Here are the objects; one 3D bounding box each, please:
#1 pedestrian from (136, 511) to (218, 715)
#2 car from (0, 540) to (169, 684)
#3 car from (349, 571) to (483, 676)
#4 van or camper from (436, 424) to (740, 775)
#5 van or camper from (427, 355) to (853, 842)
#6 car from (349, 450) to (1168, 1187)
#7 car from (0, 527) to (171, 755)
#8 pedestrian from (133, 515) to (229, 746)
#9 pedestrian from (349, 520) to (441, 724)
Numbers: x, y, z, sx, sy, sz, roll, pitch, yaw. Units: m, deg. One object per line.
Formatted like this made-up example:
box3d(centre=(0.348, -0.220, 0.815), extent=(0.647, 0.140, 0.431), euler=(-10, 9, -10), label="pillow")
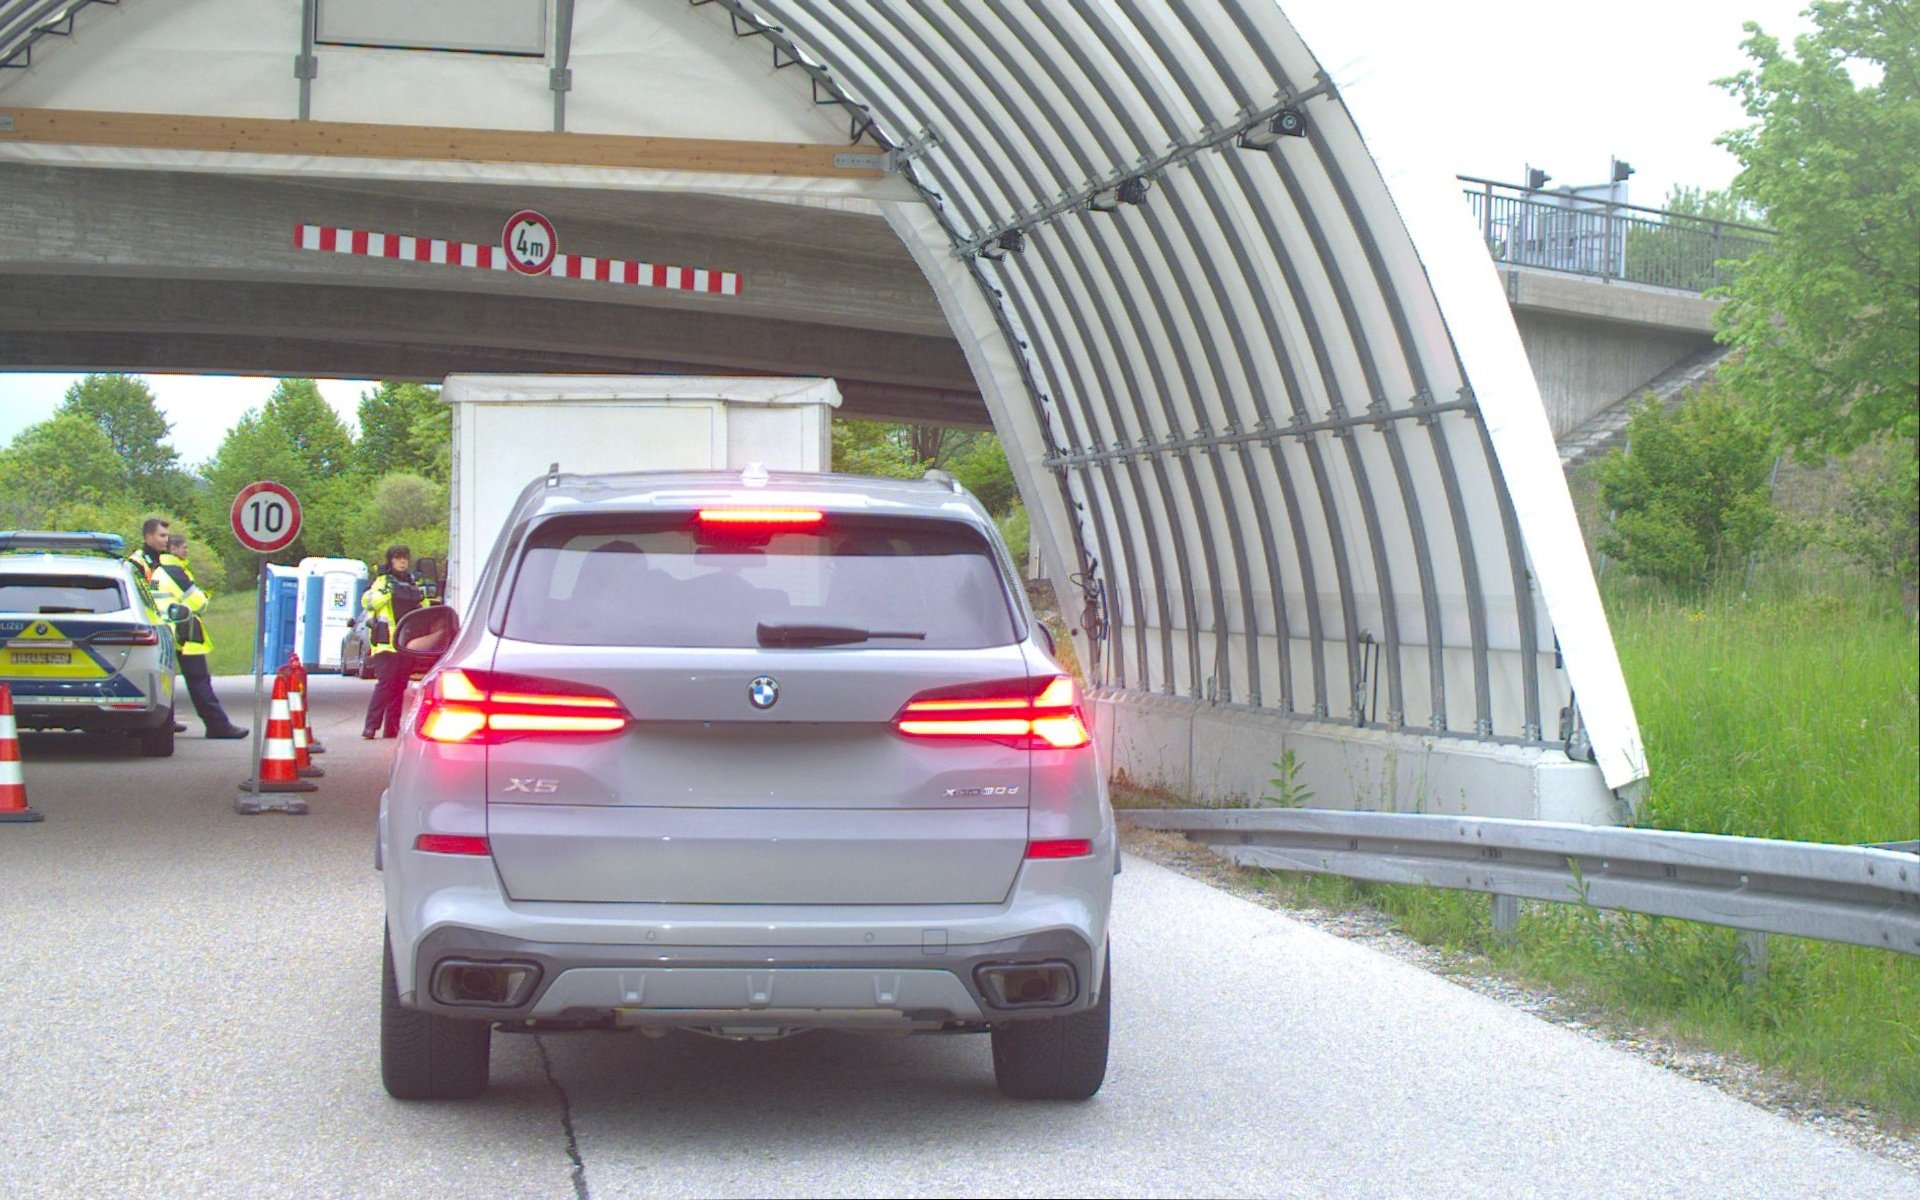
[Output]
box3d(centre=(-6.803, 0.107, 29.901), extent=(0.609, 1.748, 0.666), euler=(0, 0, -6), label="pedestrian")
box3d(centre=(-13.929, 0.159, 49.066), extent=(4.807, 2.007, 1.840), euler=(0, 0, 7), label="car")
box3d(centre=(-9.276, 0.371, 58.399), extent=(1.993, 1.716, 3.897), euler=(0, 0, -13), label="car")
box3d(centre=(-3.085, -0.024, 27.480), extent=(2.103, 2.510, 5.552), euler=(0, 0, -9), label="van or camper")
box3d(centre=(-2.178, -0.035, 21.404), extent=(2.229, 2.543, 6.612), euler=(0, 0, -9), label="van or camper")
box3d(centre=(-0.791, 0.503, 10.341), extent=(1.993, 1.759, 4.001), euler=(0, 0, -9), label="car")
box3d(centre=(-7.163, 0.281, 26.750), extent=(1.877, 1.641, 4.001), euler=(0, 0, -15), label="car")
box3d(centre=(-6.560, 0.251, 28.935), extent=(0.749, 1.912, 0.763), euler=(0, 0, -15), label="pedestrian")
box3d(centre=(-4.827, 0.184, 29.408), extent=(0.754, 1.716, 0.782), euler=(0, 0, -9), label="pedestrian")
